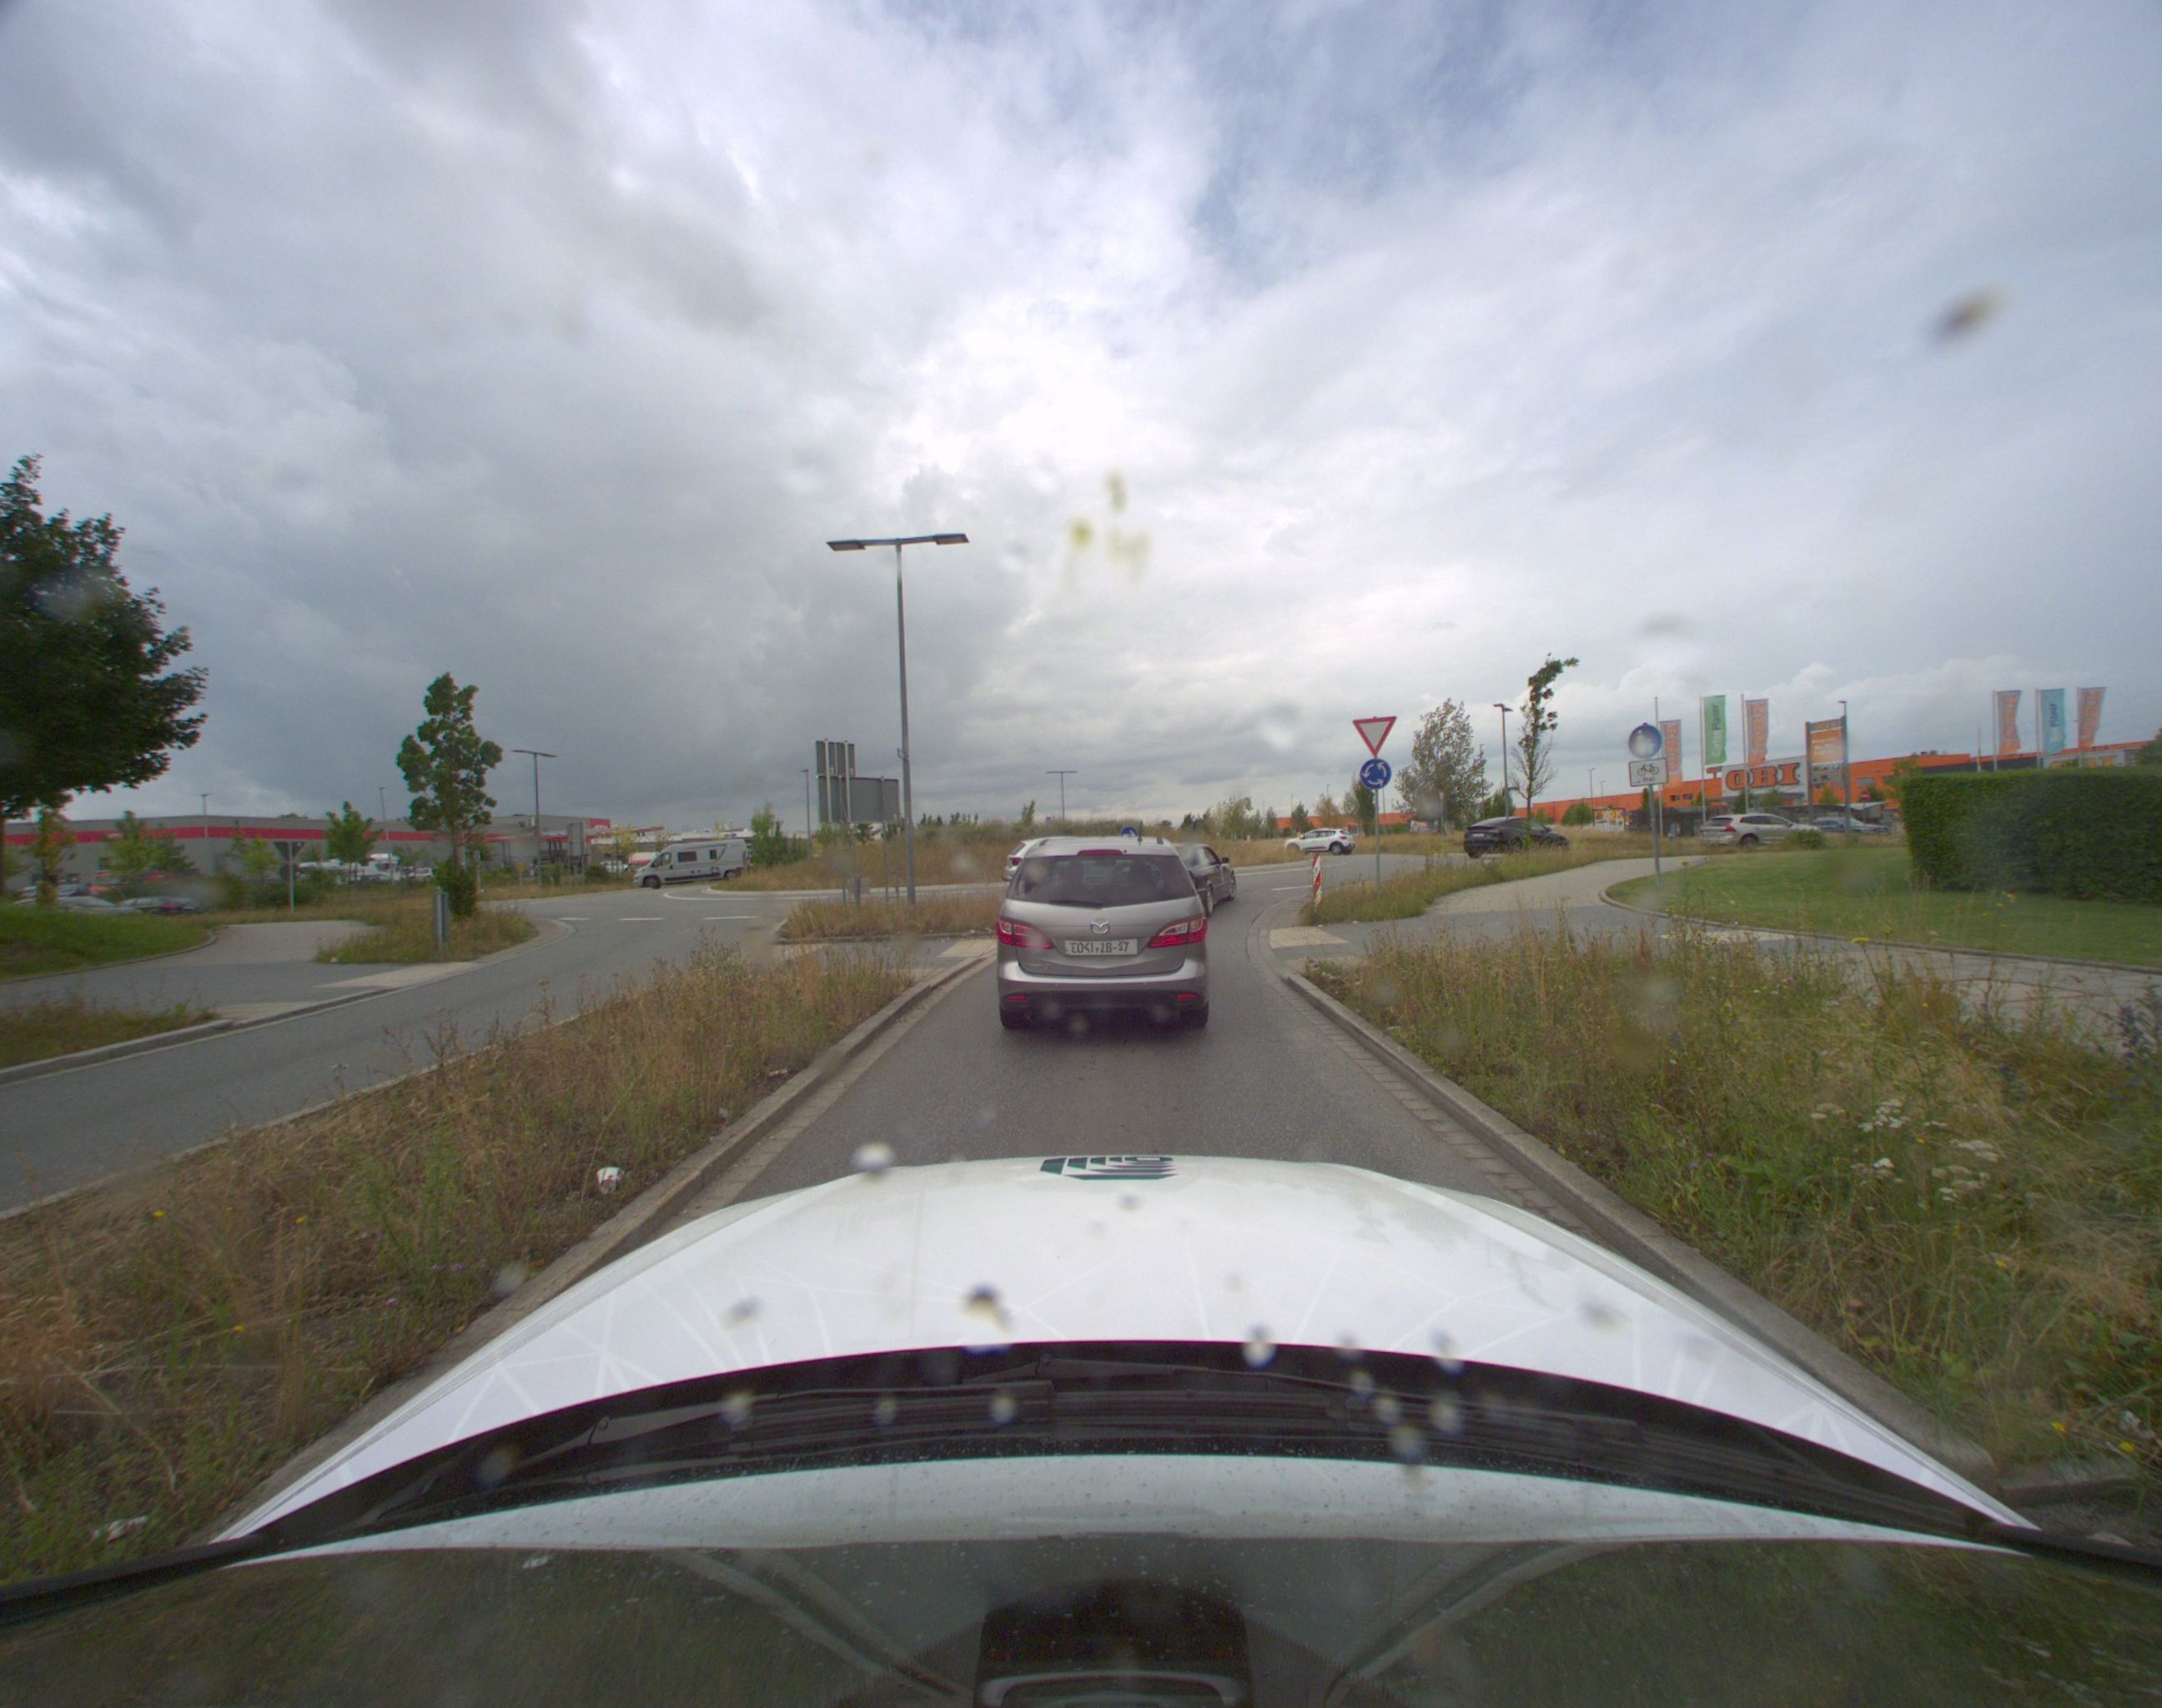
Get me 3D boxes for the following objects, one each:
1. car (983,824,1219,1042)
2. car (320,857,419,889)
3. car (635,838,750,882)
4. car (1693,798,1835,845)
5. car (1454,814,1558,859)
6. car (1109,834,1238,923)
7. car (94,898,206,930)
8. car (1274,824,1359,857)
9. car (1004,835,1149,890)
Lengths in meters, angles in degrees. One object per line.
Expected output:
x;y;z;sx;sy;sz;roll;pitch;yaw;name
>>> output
0.225;0.558;8.010;1.731;1.598;4.000;-1;1;2;car
-66.340;1.738;76.194;2.455;2.820;7.686;-1;-1;-1;car
-21.890;0.349;46.100;5.721;2.387;2.262;0;-1;-25;car
29.684;-1.399;35.465;4.752;1.738;1.941;-3;2;-6;car
16.925;-0.723;32.350;4.800;1.498;1.922;-5;3;-39;car
1.967;0.374;16.149;1.724;1.403;4.018;0;3;18;car
-46.071;2.973;40.333;3.822;1.325;1.470;-2;0;0;car
13.650;-0.775;47.260;4.284;1.648;1.883;-2;3;34;car
-0.184;0.246;23.298;3.983;1.464;1.809;0;-1;-7;car
